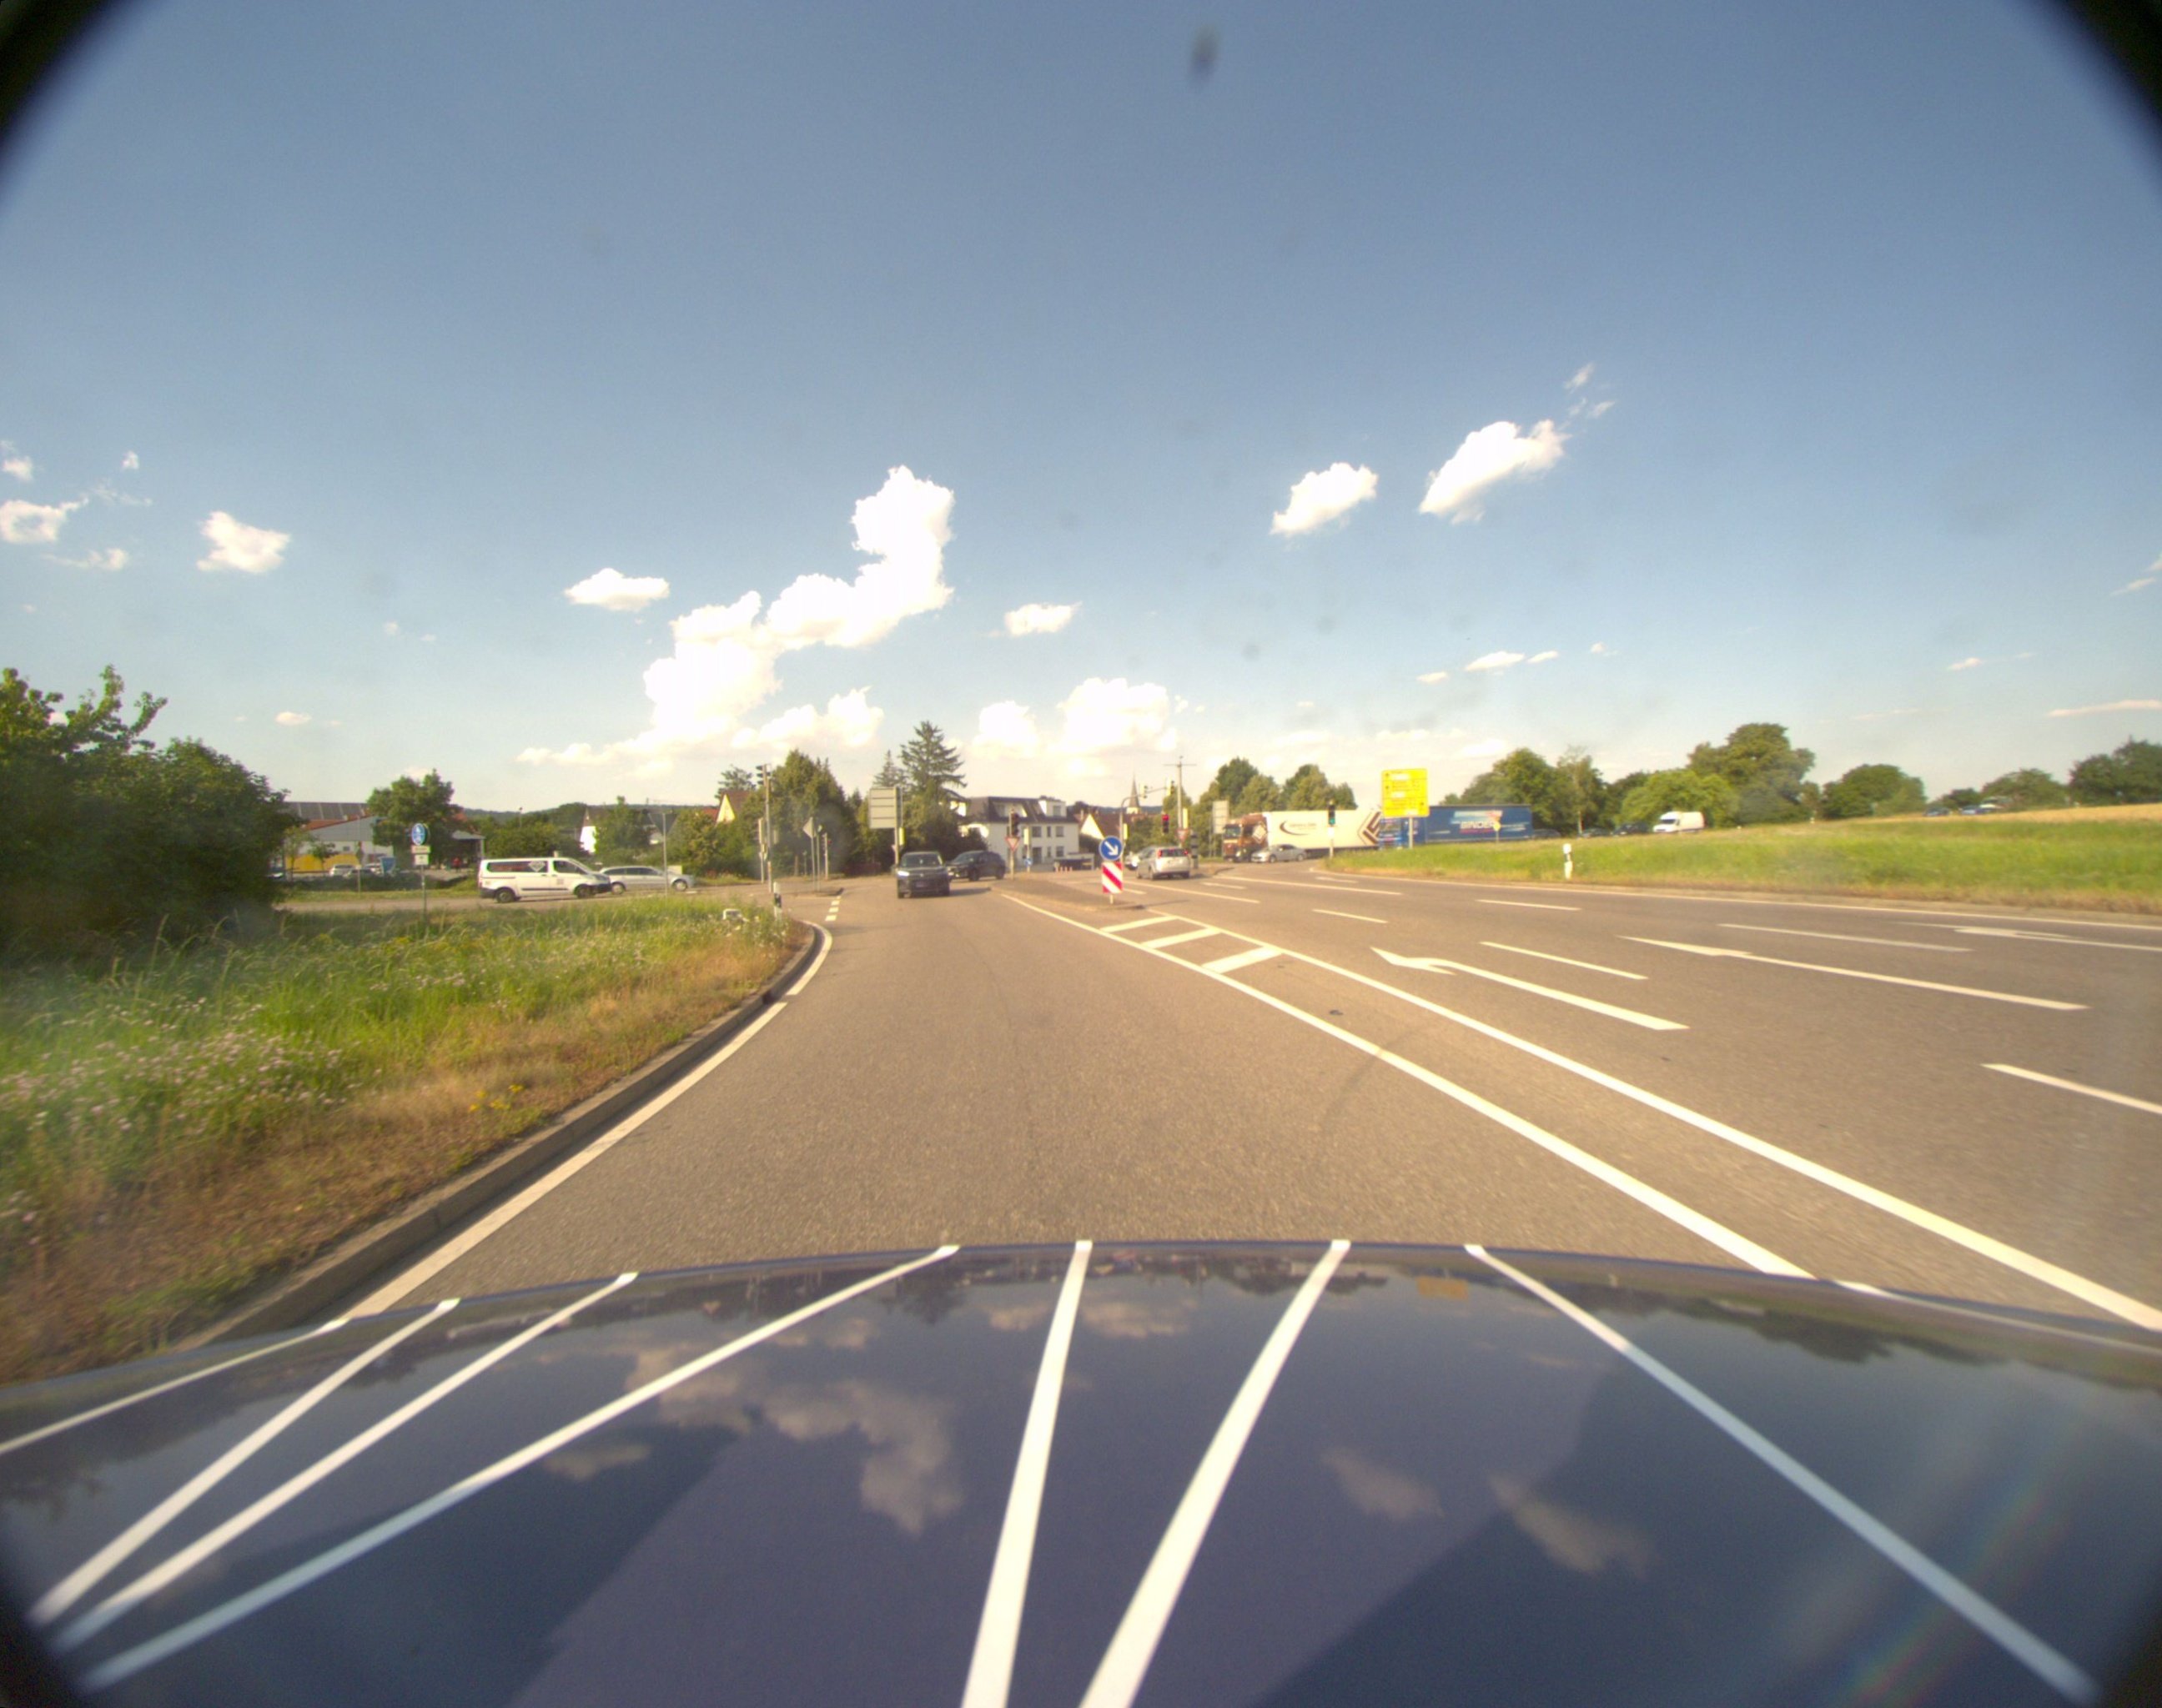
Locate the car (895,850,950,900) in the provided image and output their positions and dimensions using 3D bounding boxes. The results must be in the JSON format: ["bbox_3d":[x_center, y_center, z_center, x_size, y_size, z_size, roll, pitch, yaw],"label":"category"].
[{"bbox_3d":[-5.835,0.739,28.390,1.789,1.619,4.465,-3,0,-10],"label":"car"}]

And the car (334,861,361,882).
[{"bbox_3d":[-69.278,1.666,71.764,2.928,1.872,1.611,-3,0,43],"label":"car"}]

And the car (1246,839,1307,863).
[{"bbox_3d":[14.671,-0.242,57.035,4.004,1.477,1.996,-4,0,-26],"label":"car"}]

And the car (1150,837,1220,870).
[{"bbox_3d":[7.221,-0.032,52.910,4.377,1.936,1.905,-4,1,-26],"label":"car"}]

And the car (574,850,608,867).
[{"bbox_3d":[-50.342,0.504,78.126,3.578,1.571,1.610,-3,0,35],"label":"car"}]

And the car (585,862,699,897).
[{"bbox_3d":[-22.889,1.305,39.865,4.959,1.505,1.859,-3,0,-26],"label":"car"}]

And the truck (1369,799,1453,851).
[{"bbox_3d":[27.494,-2.432,63.340,5.608,3.981,3.370,-3,0,-26],"label":"truck"}]

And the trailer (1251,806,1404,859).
[{"bbox_3d":[21.169,-1.882,64.656,14.352,4.043,2.535,-3,0,-25],"label":"trailer"}]

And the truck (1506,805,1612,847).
[{"bbox_3d":[49.203,-2.917,78.004,12.913,3.752,2.526,-3,0,-25],"label":"truck"}]

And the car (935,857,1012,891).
[{"bbox_3d":[-5.799,1.060,41.554,1.772,1.603,4.555,-3,0,27],"label":"car"}]

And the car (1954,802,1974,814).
[{"bbox_3d":[118.392,-6.182,101.883,4.007,1.492,1.759,-2,2,-41],"label":"car"}]

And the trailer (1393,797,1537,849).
[{"bbox_3d":[33.712,-2.761,66.416,13.765,3.981,3.412,-3,0,-26],"label":"trailer"}]

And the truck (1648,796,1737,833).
[{"bbox_3d":[70.980,-4.597,88.108,12.913,3.752,2.526,-3,0,-25],"label":"truck"}]

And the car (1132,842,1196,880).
[{"bbox_3d":[3.779,0.383,35.396,1.820,1.519,4.351,-3,-2,-9],"label":"car"}]

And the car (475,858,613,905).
[{"bbox_3d":[-24.285,1.200,34.606,4.824,1.936,1.903,-1,-1,-26],"label":"car"}]

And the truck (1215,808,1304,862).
[{"bbox_3d":[14.445,-1.519,61.449,6.669,4.020,2.535,-3,0,-25],"label":"truck"}]
